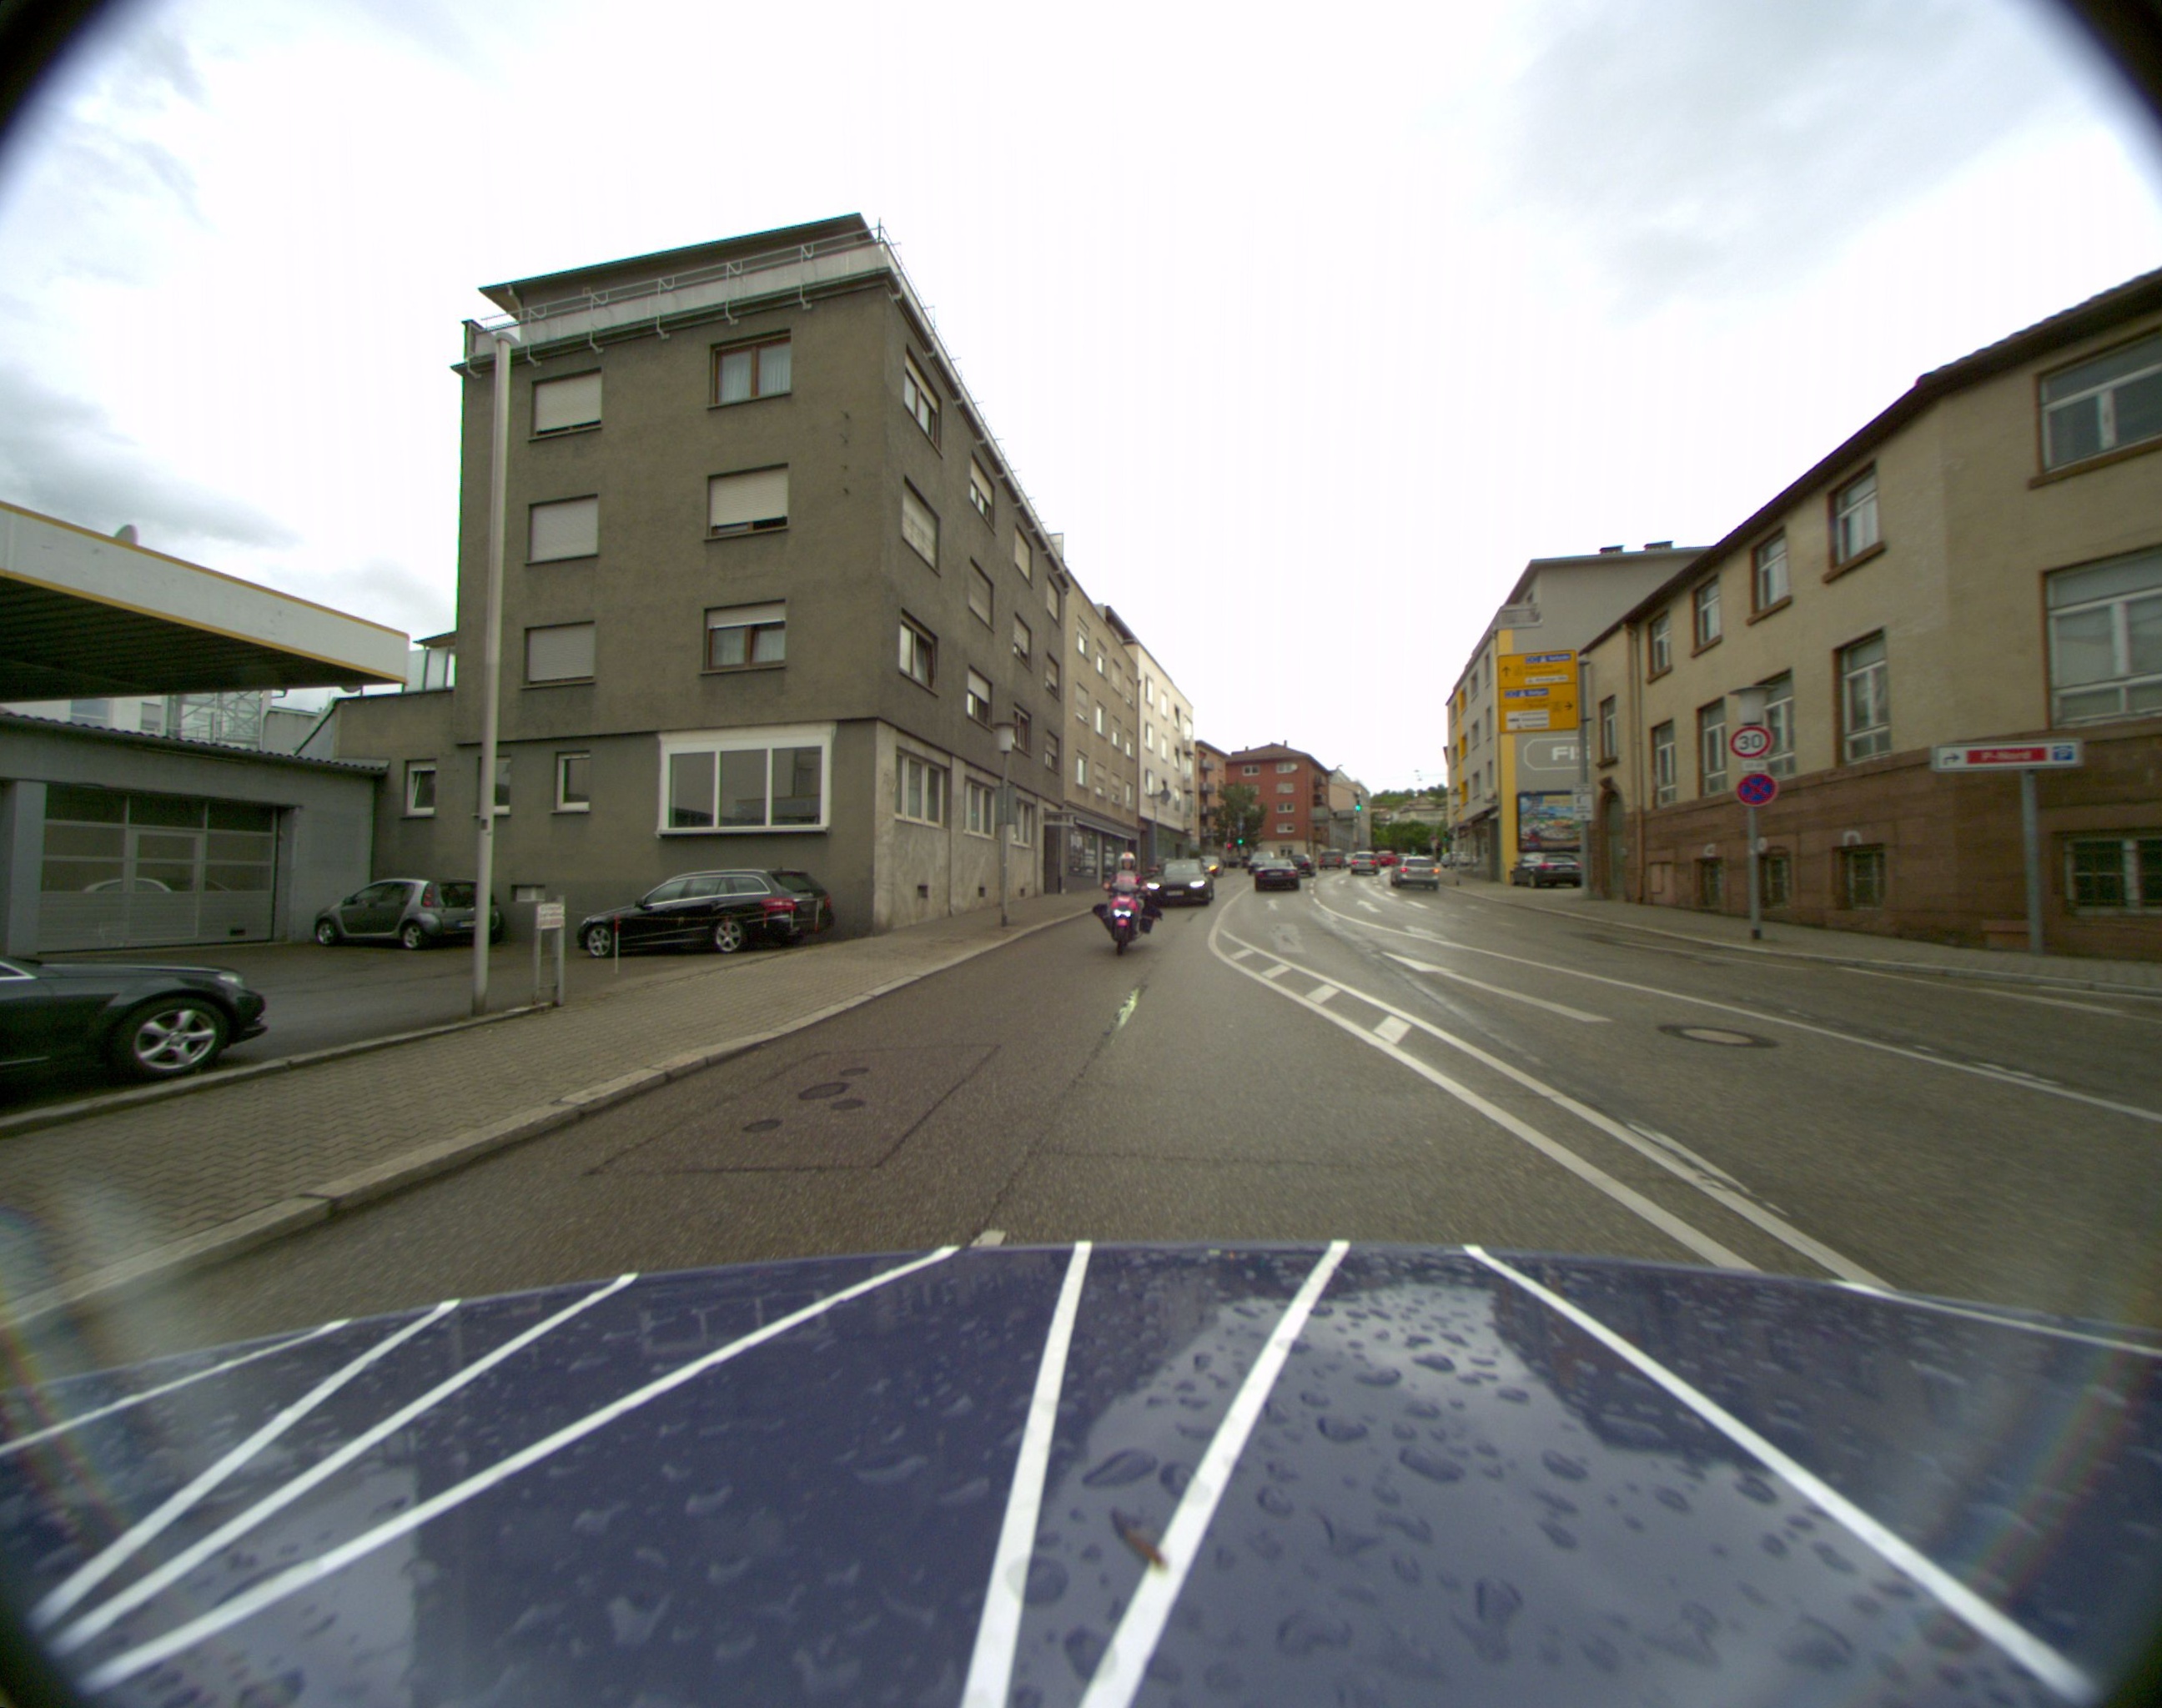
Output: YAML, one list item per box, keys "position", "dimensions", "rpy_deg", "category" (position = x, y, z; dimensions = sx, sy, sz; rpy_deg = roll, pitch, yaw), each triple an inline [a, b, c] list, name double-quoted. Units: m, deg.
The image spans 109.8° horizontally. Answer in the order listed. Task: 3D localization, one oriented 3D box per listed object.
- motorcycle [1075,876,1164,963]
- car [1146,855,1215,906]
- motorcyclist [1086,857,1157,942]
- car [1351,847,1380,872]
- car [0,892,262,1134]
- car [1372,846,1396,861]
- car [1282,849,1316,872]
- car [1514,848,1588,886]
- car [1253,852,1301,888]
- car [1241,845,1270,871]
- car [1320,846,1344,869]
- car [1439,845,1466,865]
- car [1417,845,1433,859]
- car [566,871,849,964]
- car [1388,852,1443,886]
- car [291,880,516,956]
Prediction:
- position: [0.733, 1.067, 13.120]
  dimensions: [1.009, 1.218, 2.696]
  rpy_deg: [-3, 0, 13]
  category: "motorcycle"
- position: [3.389, 0.811, 25.255]
  dimensions: [1.704, 1.451, 4.323]
  rpy_deg: [-3, 0, 14]
  category: "car"
- position: [0.711, 0.764, 13.095]
  dimensions: [1.009, 1.373, 0.835]
  rpy_deg: [-3, 0, 13]
  category: "motorcyclist"
- position: [20.215, 0.362, 54.134]
  dimensions: [1.859, 1.688, 4.324]
  rpy_deg: [0, 1, 19]
  category: "car"
- position: [-8.135, 1.095, 4.303]
  dimensions: [1.791, 1.503, 4.441]
  rpy_deg: [0, 0, 12]
  category: "car"
- position: [29.352, -0.065, 73.591]
  dimensions: [1.860, 1.445, 4.324]
  rpy_deg: [0, 1, 18]
  category: "car"
- position: [13.922, 0.380, 48.406]
  dimensions: [1.859, 1.445, 4.324]
  rpy_deg: [0, 1, 19]
  category: "car"
- position: [19.963, 0.523, 32.429]
  dimensions: [1.860, 1.445, 3.968]
  rpy_deg: [-4, -1, 20]
  category: "car"
- position: [8.568, 0.659, 33.180]
  dimensions: [1.860, 1.445, 4.323]
  rpy_deg: [-1, 0, 15]
  category: "car"
- position: [13.226, 0.279, 57.494]
  dimensions: [1.846, 1.893, 3.770]
  rpy_deg: [-1, 1, 18]
  category: "car"
- position: [21.047, 0.284, 63.748]
  dimensions: [1.846, 1.893, 3.770]
  rpy_deg: [-1, 1, 18]
  category: "car"
- position: [33.121, 0.051, 67.830]
  dimensions: [1.859, 1.687, 4.325]
  rpy_deg: [0, 1, 22]
  category: "car"
- position: [47.093, -0.295, 103.990]
  dimensions: [1.845, 1.893, 3.771]
  rpy_deg: [0, 1, 22]
  category: "car"
- position: [-6.992, 1.181, 14.382]
  dimensions: [4.528, 1.495, 2.002]
  rpy_deg: [-2, 0, 15]
  category: "car"
- position: [15.444, 0.642, 35.274]
  dimensions: [1.859, 1.445, 4.324]
  rpy_deg: [2, 1, 18]
  category: "car"
- position: [-14.686, 1.326, 16.556]
  dimensions: [3.748, 1.445, 1.796]
  rpy_deg: [0, -1, 13]
  category: "car"
